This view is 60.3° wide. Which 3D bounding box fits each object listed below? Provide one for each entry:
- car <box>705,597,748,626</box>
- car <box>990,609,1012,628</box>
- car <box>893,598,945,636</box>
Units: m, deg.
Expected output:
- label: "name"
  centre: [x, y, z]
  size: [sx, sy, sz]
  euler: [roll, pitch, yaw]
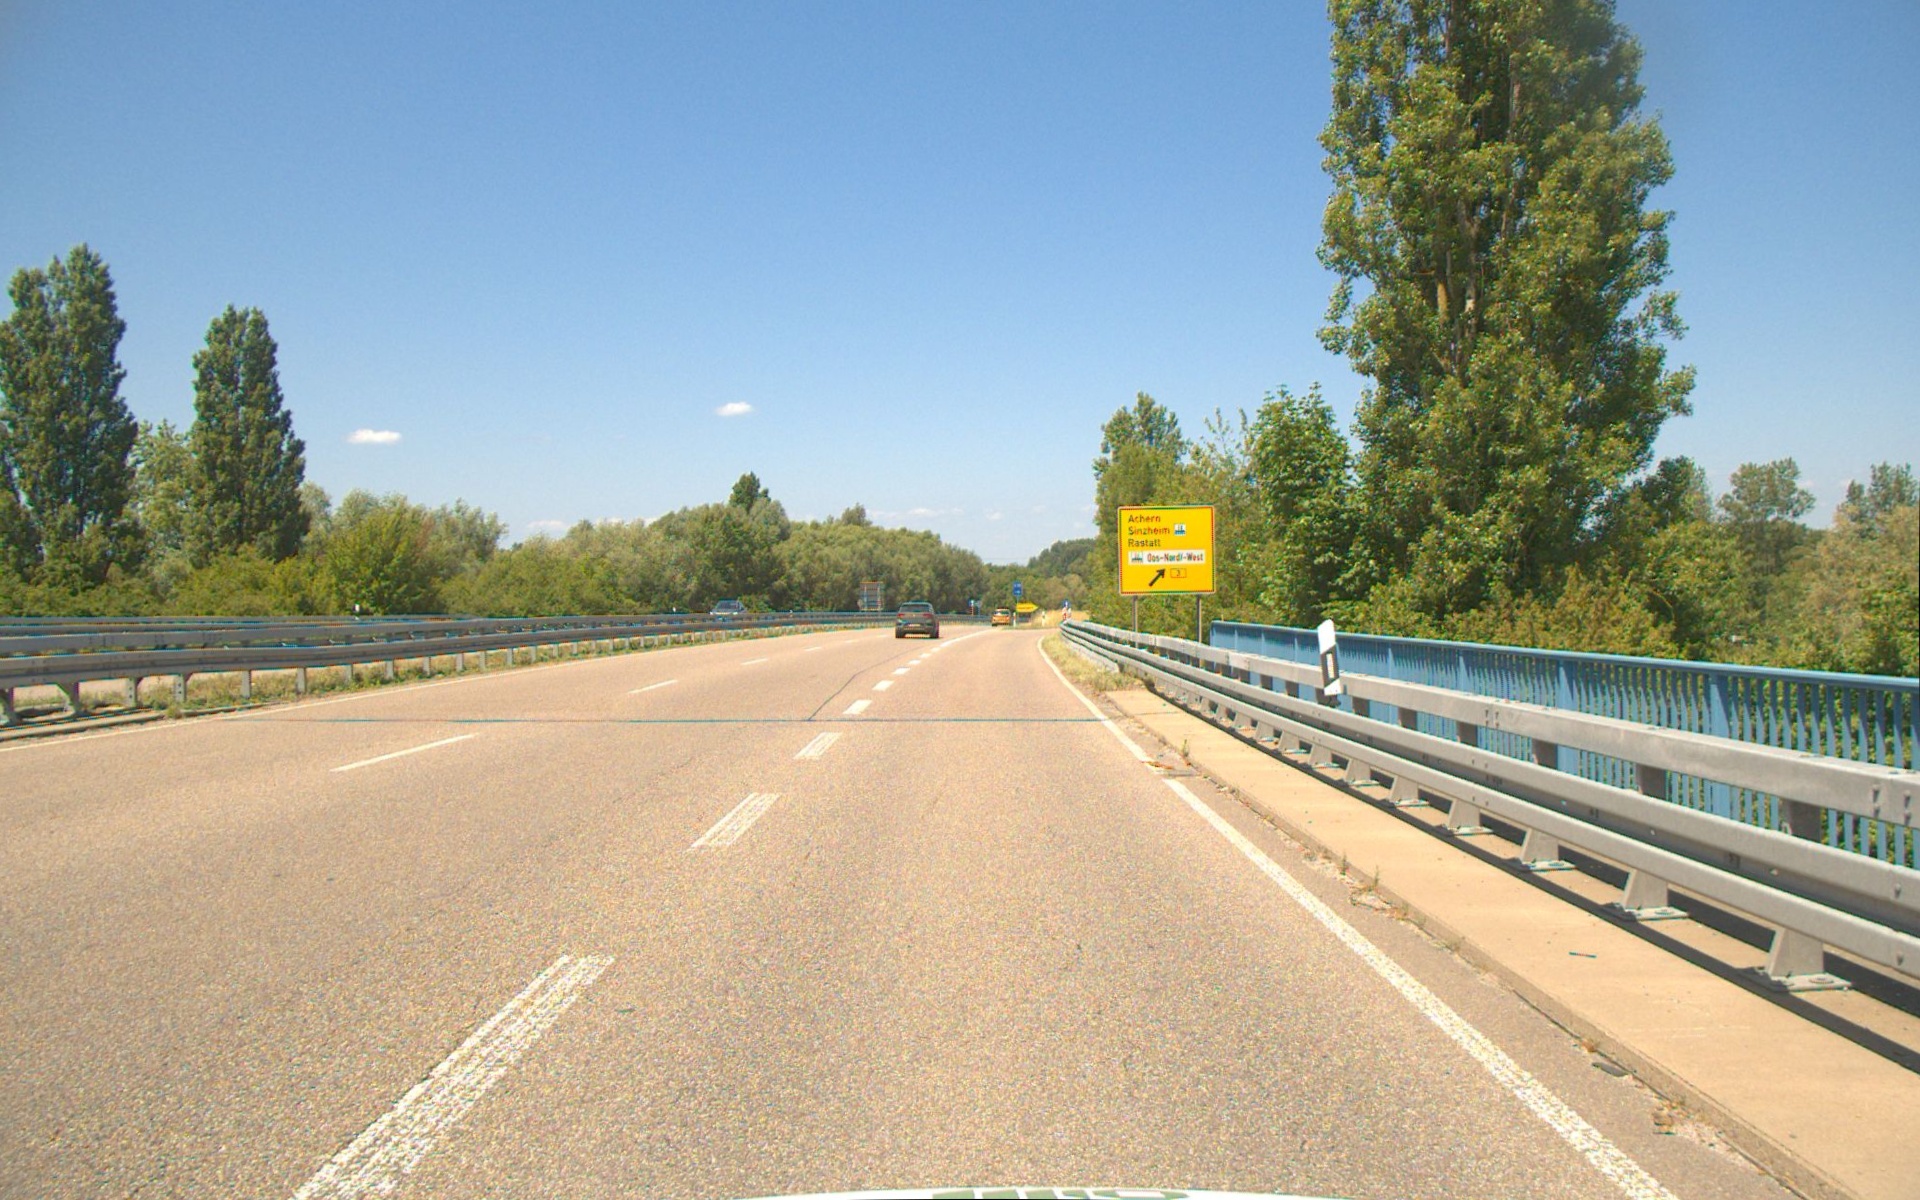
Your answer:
- label: "car"
  centre: [-13.466, 0.666, 95.484]
  size: [1.787, 1.676, 4.190]
  euler: [0, 0, 1]
- label: "car"
  centre: [3.618, 1.594, 145.168]
  size: [1.803, 1.489, 4.002]
  euler: [1, 1, 3]
- label: "car"
  centre: [-1.783, 0.710, 73.344]
  size: [1.802, 1.556, 4.473]
  euler: [1, 1, 5]
